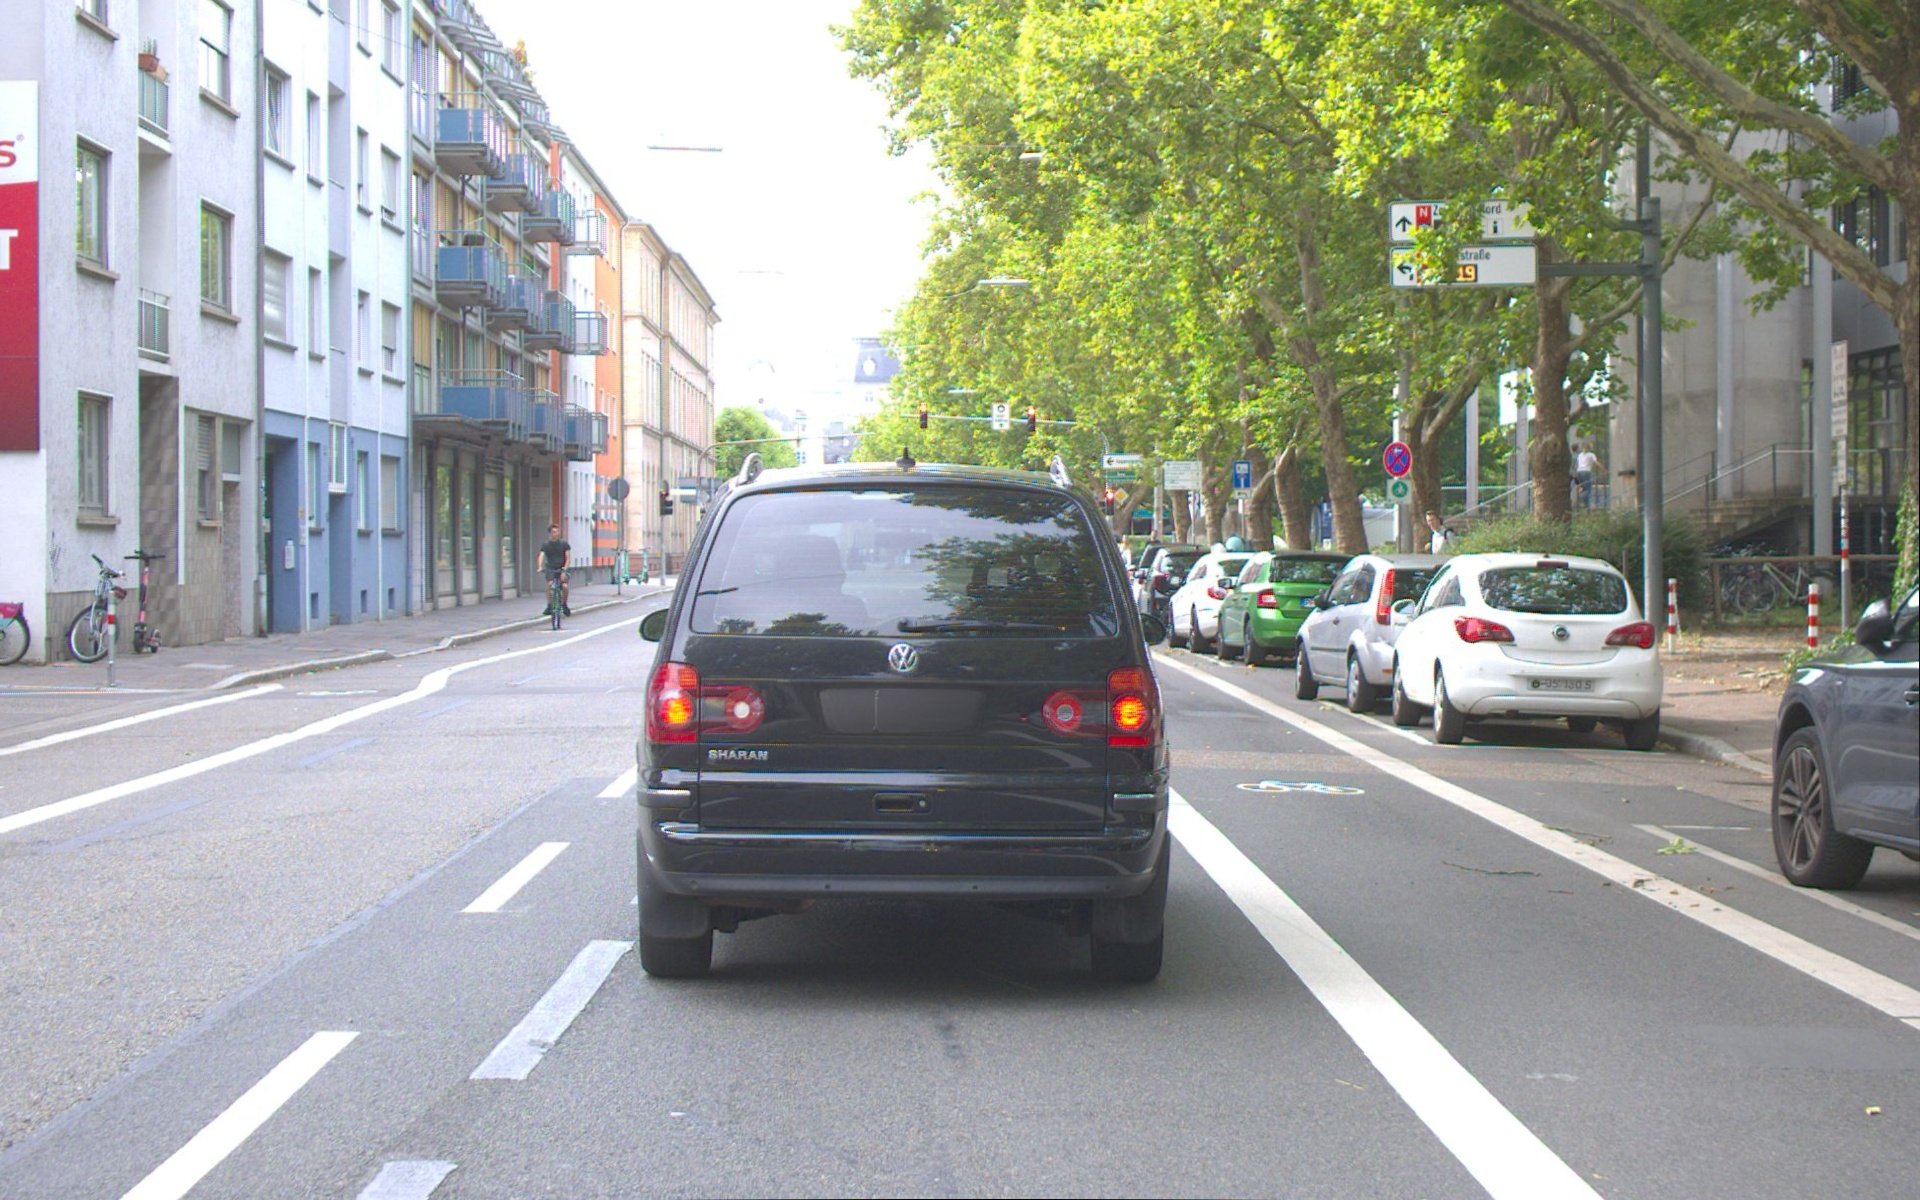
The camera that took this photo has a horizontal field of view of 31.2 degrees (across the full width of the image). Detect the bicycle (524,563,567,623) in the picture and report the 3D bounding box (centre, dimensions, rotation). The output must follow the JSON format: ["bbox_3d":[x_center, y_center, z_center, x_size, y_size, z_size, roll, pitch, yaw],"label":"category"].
[{"bbox_3d":[-7.495,-0.124,62.218,0.631,1.030,2.015,1,-1,-3],"label":"bicycle"}]

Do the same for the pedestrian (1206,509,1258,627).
[{"bbox_3d":[4.230,-0.502,53.505,0.767,1.825,0.516,0,1,0],"label":"pedestrian"}]

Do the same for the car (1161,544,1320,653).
[{"bbox_3d":[3.913,-0.046,48.453,1.641,1.390,3.513,2,1,-4],"label":"car"}]

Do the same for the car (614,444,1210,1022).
[{"bbox_3d":[-0.261,0.380,12.434,1.812,1.760,3.738,1,1,-4],"label":"car"}]

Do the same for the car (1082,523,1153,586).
[{"bbox_3d":[4.456,-1.309,97.613,1.788,1.766,4.000,0,1,0],"label":"car"}]

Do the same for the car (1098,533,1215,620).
[{"bbox_3d":[3.599,-0.451,63.478,1.641,1.482,3.513,2,1,-4],"label":"car"}]

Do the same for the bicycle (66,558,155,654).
[{"bbox_3d":[-9.597,0.052,38.886,0.631,1.030,2.016,1,1,-4],"label":"bicycle"}]

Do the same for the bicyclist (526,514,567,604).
[{"bbox_3d":[-7.503,-0.742,62.408,0.653,1.606,0.656,1,-1,-3],"label":"bicyclist"}]

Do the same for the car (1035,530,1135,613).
[{"bbox_3d":[2.618,-0.628,72.942,1.743,1.683,3.805,0,1,-4],"label":"car"}]

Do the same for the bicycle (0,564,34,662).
[{"bbox_3d":[-11.072,0.121,37.175,2.009,1.030,0.410,1,2,1],"label":"bicycle"}]

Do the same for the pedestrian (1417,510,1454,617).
[{"bbox_3d":[7.466,-0.577,53.984,0.510,1.674,0.516,0,1,0],"label":"pedestrian"}]

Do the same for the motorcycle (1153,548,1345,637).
[{"bbox_3d":[4.373,-0.124,52.208,2.837,1.320,0.765,0,1,0],"label":"motorcycle"}]

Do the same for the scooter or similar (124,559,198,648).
[{"bbox_3d":[-9.656,0.053,41.605,0.631,1.030,2.015,1,-1,-7],"label":"scooter or similar"}]

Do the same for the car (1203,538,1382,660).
[{"bbox_3d":[4.152,-0.039,43.409,1.641,1.408,3.417,2,1,-4],"label":"car"}]

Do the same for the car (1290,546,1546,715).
[{"bbox_3d":[4.206,0.241,32.025,1.641,1.408,3.417,2,1,-4],"label":"car"}]

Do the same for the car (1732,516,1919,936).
[{"bbox_3d":[4.577,0.514,13.845,1.668,1.635,4.504,2,1,-3],"label":"car"}]

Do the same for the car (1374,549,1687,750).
[{"bbox_3d":[4.454,0.333,27.451,1.675,1.389,4.461,2,1,0],"label":"car"}]
